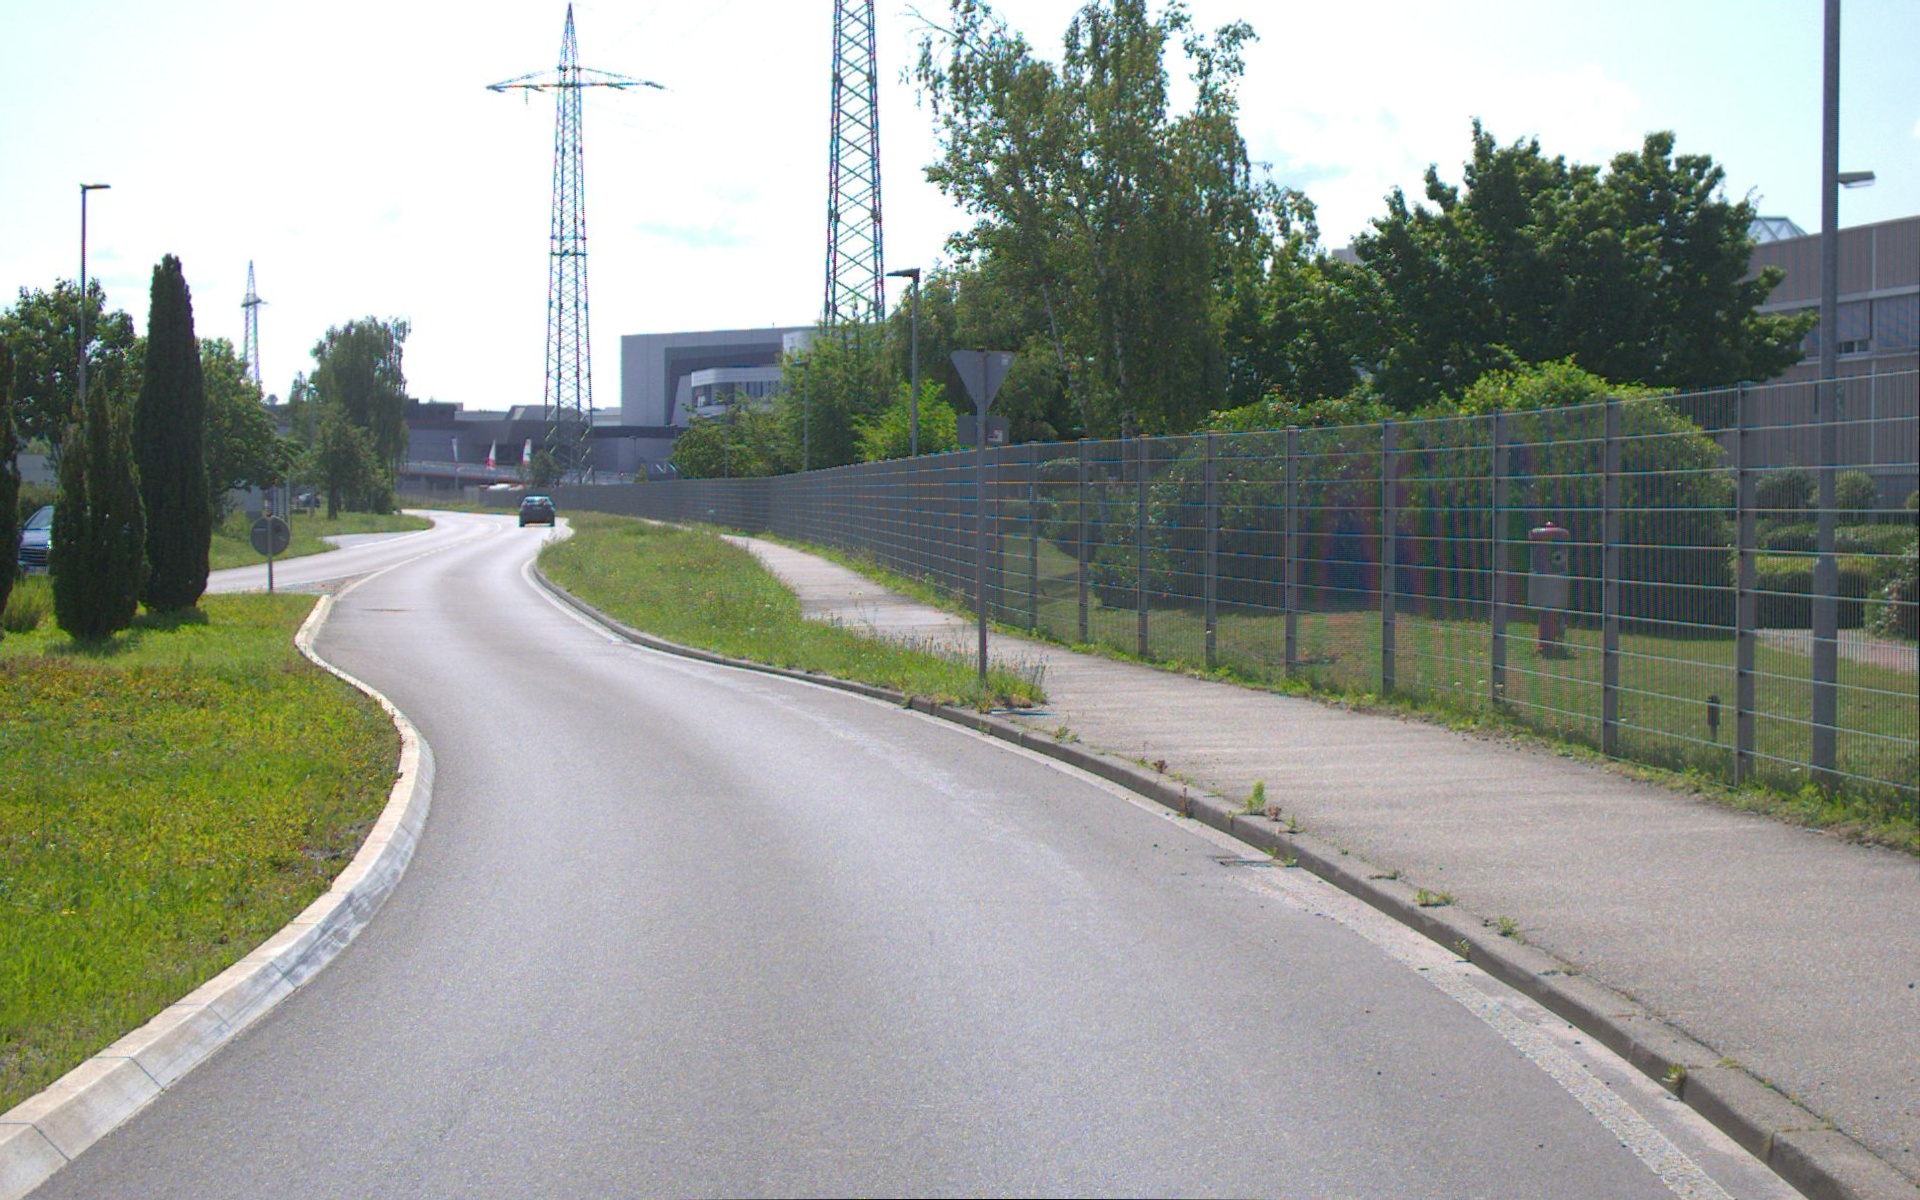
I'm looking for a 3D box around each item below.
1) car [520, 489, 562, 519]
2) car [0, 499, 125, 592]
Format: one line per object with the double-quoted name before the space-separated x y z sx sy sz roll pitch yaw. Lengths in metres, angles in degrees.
"car" -21.521 -4.904 176.564 2.011 1.503 4.001 0 1 -9
"car" -14.589 -0.891 54.240 1.899 1.389 4.866 0 2 -3
